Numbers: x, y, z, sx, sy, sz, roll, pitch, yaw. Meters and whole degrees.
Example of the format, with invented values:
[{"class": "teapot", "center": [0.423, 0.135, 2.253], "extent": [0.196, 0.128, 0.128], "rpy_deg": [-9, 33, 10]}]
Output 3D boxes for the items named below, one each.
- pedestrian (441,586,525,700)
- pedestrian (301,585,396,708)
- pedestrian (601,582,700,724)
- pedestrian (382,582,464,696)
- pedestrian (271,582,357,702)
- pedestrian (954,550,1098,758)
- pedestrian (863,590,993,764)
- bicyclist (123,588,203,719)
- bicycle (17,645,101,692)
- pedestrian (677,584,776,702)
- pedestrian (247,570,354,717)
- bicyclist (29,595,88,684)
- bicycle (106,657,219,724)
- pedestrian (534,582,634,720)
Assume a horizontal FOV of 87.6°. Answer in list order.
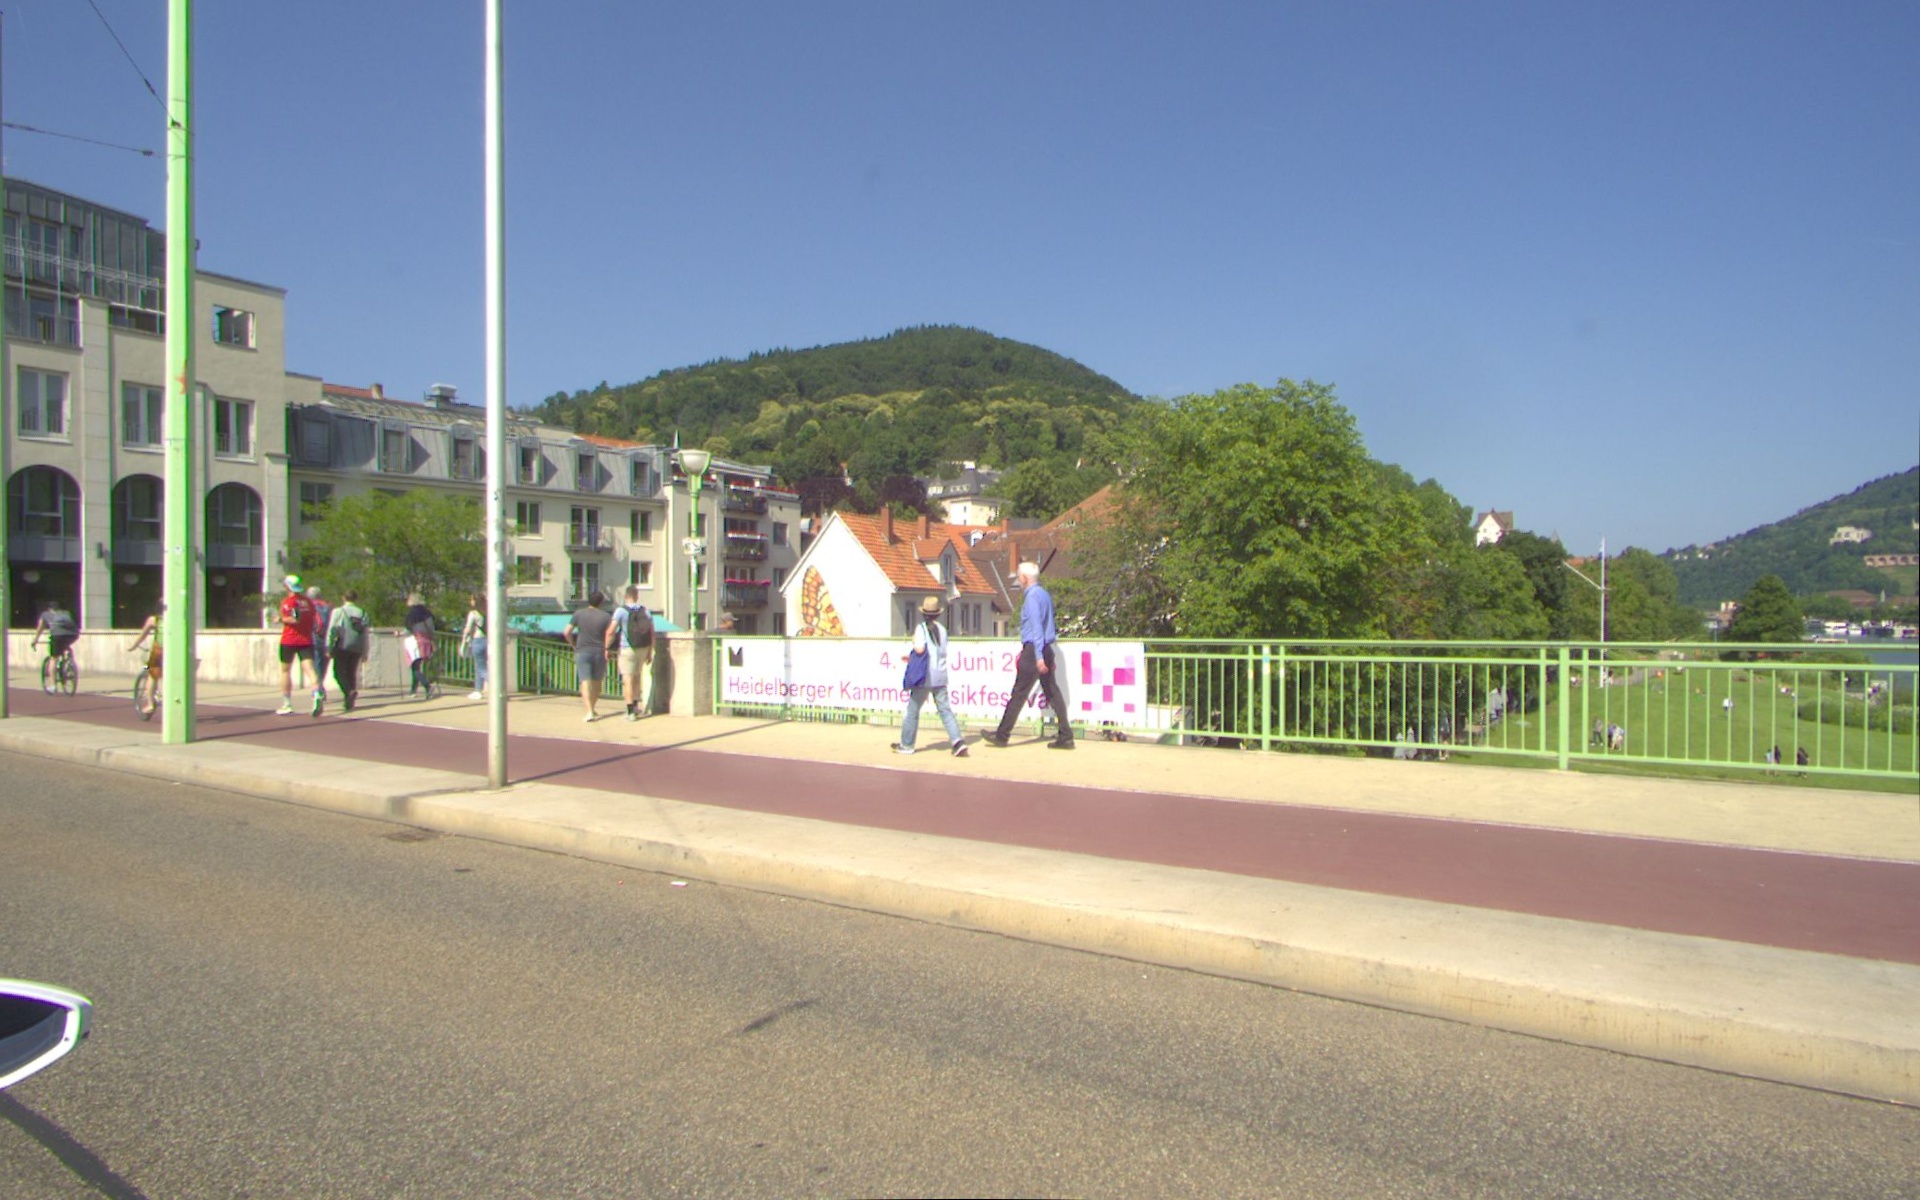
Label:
[{"class": "pedestrian", "center": [-7.636, 0.667, 16.033], "extent": [1.000, 1.770, 0.738], "rpy_deg": [0, 1, 28]}, {"class": "pedestrian", "center": [-8.996, 0.657, 14.733], "extent": [1.058, 1.741, 0.753], "rpy_deg": [0, 1, 32]}, {"class": "pedestrian", "center": [-3.969, 0.651, 12.854], "extent": [1.001, 1.741, 0.738], "rpy_deg": [0, 0, 32]}, {"class": "pedestrian", "center": [-8.773, 0.610, 16.370], "extent": [1.001, 1.801, 0.737], "rpy_deg": [0, 1, 32]}, {"class": "pedestrian", "center": [-10.115, 0.634, 15.678], "extent": [1.001, 1.826, 0.737], "rpy_deg": [0, 1, 32]}, {"class": "pedestrian", "center": [0.661, 0.503, 9.919], "extent": [1.121, 1.923, 0.924], "rpy_deg": [0, 1, 32]}, {"class": "pedestrian", "center": [-0.295, 0.690, 9.549], "extent": [0.919, 1.550, 0.827], "rpy_deg": [0, 1, 32]}, {"class": "bicyclist", "center": [-10.463, 0.682, 13.147], "extent": [0.692, 1.672, 0.603], "rpy_deg": [0, 1, 33]}, {"class": "bicycle", "center": [-16.426, 1.237, 18.248], "extent": [1.804, 0.776, 0.593], "rpy_deg": [-1, 1, 30]}, {"class": "pedestrian", "center": [-3.712, 0.652, 15.983], "extent": [0.965, 1.801, 1.202], "rpy_deg": [0, 1, 28]}, {"class": "pedestrian", "center": [-9.114, 0.581, 13.848], "extent": [1.111, 1.950, 0.809], "rpy_deg": [0, 1, 32]}, {"class": "bicyclist", "center": [-16.396, 0.705, 18.219], "extent": [0.691, 1.579, 0.586], "rpy_deg": [0, 1, 30]}, {"class": "bicycle", "center": [-10.552, 1.169, 13.228], "extent": [1.840, 0.776, 0.592], "rpy_deg": [-1, 1, 33]}, {"class": "pedestrian", "center": [-4.954, 0.645, 13.199], "extent": [1.001, 1.741, 0.737], "rpy_deg": [0, 1, 32]}]
